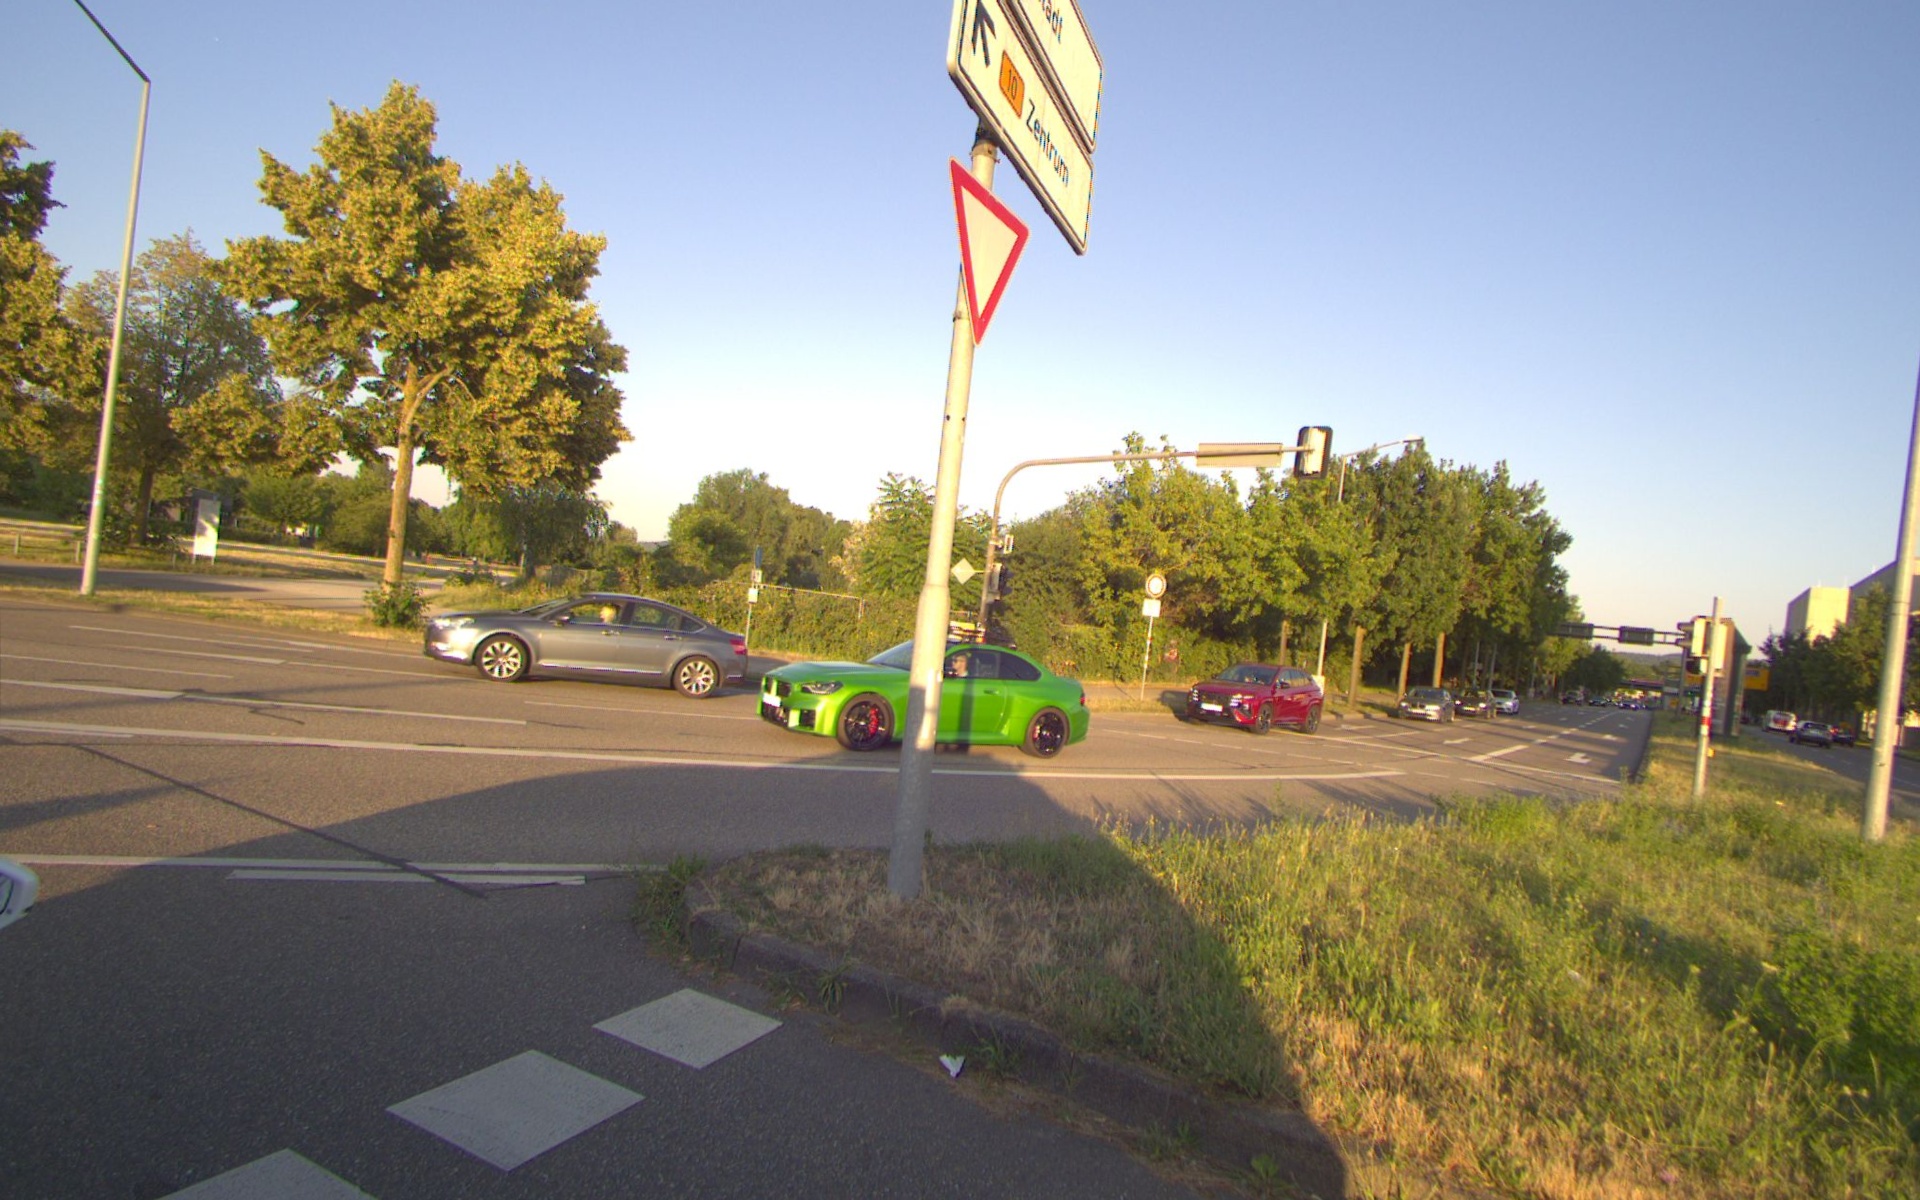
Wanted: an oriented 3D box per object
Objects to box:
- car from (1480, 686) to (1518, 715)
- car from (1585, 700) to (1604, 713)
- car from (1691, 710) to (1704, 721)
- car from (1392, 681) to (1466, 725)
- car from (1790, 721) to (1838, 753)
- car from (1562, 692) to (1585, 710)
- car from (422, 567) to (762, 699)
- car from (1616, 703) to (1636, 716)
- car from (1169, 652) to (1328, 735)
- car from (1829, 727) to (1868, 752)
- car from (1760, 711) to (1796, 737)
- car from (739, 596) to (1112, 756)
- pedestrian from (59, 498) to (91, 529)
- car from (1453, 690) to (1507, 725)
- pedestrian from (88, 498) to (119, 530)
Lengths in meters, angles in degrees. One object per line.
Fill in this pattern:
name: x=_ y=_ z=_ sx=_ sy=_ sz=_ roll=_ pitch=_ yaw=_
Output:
car: x=32.853 y=6.121 z=61.257 sx=1.836 sy=1.471 sz=3.966 roll=5 pitch=-2 yaw=30
car: x=86.536 y=14.537 z=137.321 sx=1.967 sy=1.523 sz=4.613 roll=6 pitch=-2 yaw=31
car: x=153.507 y=24.028 z=209.486 sx=1.969 sy=1.804 sz=3.988 roll=7 pitch=-1 yaw=37
car: x=19.390 y=4.245 z=41.474 sx=1.839 sy=1.407 sz=4.149 roll=9 pitch=1 yaw=36
car: x=55.714 y=8.918 z=65.681 sx=1.970 sy=1.648 sz=3.987 roll=7 pitch=-1 yaw=37
car: x=67.691 y=11.143 z=110.971 sx=1.885 sy=1.602 sz=4.170 roll=7 pitch=-1 yaw=35
car: x=-5.642 y=0.541 z=15.618 sx=4.615 sy=1.481 sz=1.875 roll=7 pitch=-2 yaw=-27
car: x=89.298 y=14.659 z=134.838 sx=1.969 sy=1.523 sz=4.758 roll=7 pitch=-1 yaw=35
car: x=7.078 y=2.288 z=24.364 sx=1.971 sy=1.592 sz=4.398 roll=7 pitch=-1 yaw=40
car: x=67.109 y=10.521 z=76.032 sx=1.971 sy=1.444 sz=4.181 roll=7 pitch=-1 yaw=40
car: x=72.621 y=11.005 z=89.356 sx=2.037 sy=1.970 sz=4.945 roll=7 pitch=-1 yaw=37
car: x=-0.364 y=1.040 z=13.248 sx=4.445 sy=1.598 sz=1.981 roll=8 pitch=-1 yaw=-35
pedestrian: x=-51.438 y=-5.017 z=58.469 sx=0.896 sy=1.637 sz=1.070 roll=7 pitch=0 yaw=34
car: x=26.589 y=5.464 z=51.391 sx=1.838 sy=1.471 sz=4.152 roll=7 pitch=-1 yaw=35
pedestrian: x=-50.045 y=-5.008 z=58.758 sx=0.896 sy=1.637 sz=1.070 roll=7 pitch=0 yaw=34
